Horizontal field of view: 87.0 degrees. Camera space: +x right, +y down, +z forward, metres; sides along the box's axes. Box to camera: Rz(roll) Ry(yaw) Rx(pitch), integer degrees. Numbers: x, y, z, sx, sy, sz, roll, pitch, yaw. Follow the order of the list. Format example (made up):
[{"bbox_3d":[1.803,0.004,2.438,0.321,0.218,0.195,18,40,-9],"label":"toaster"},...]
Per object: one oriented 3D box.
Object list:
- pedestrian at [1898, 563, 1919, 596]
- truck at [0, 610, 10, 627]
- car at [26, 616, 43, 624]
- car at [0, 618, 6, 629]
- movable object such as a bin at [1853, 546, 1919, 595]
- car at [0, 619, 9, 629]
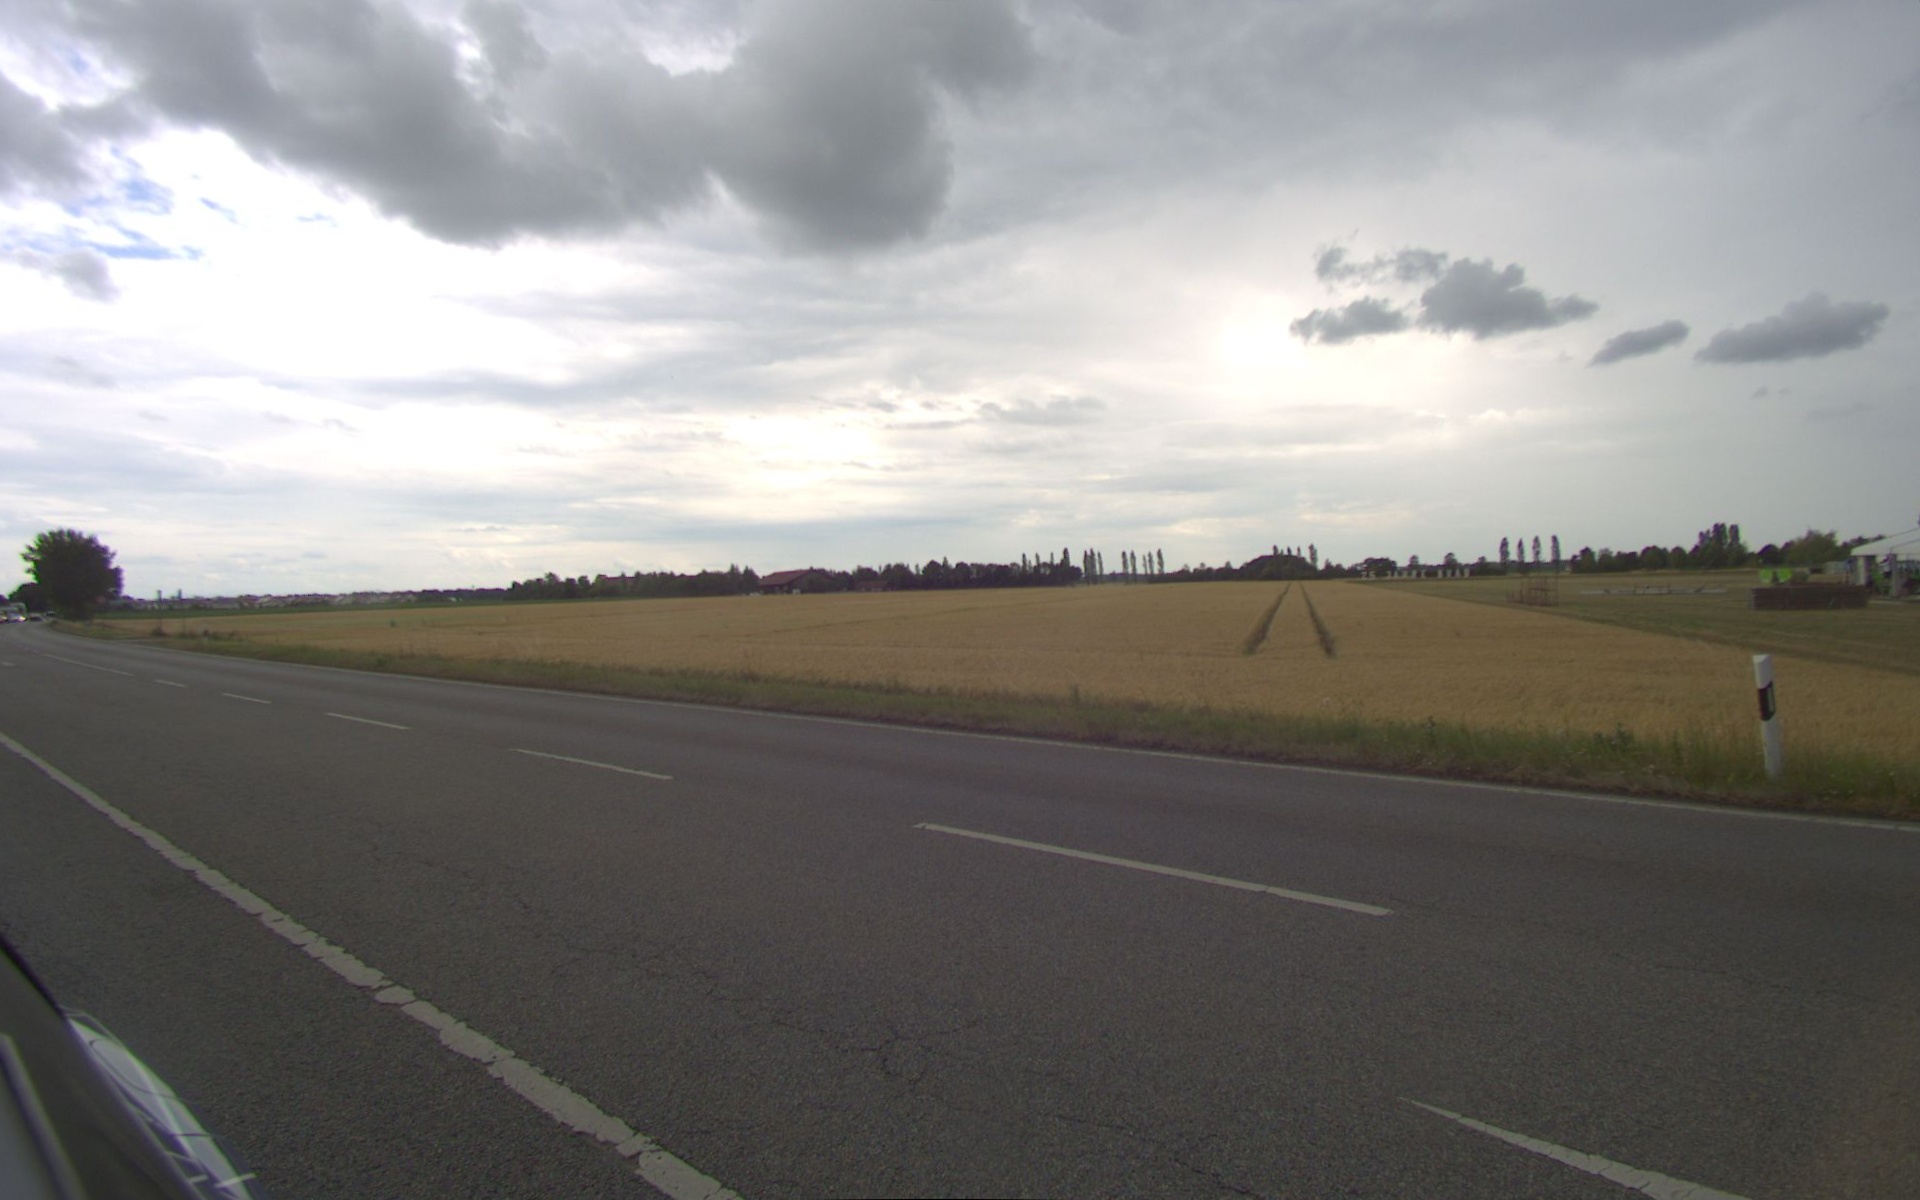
[{"bbox_3d":[60.817,-1.311,64.788,0.801,2.029,1.018,-1,0,22],"label":"pedestrian"},{"bbox_3d":[-164.449,3.123,173.080,2.285,2.786,7.687,-2,1,-39],"label":"truck"},{"bbox_3d":[-167.774,3.658,183.521,1.803,1.421,4.434,-1,0,-37],"label":"car"},{"bbox_3d":[-140.721,3.474,147.550,1.766,1.595,4.146,-1,0,-36],"label":"car"},{"bbox_3d":[66.373,-2.076,70.174,4.127,3.201,7.533,-1,1,20],"label":"movable object such as a bin"},{"bbox_3d":[-146.922,3.696,154.765,1.766,1.551,4.146,-1,0,-37],"label":"car"}]
